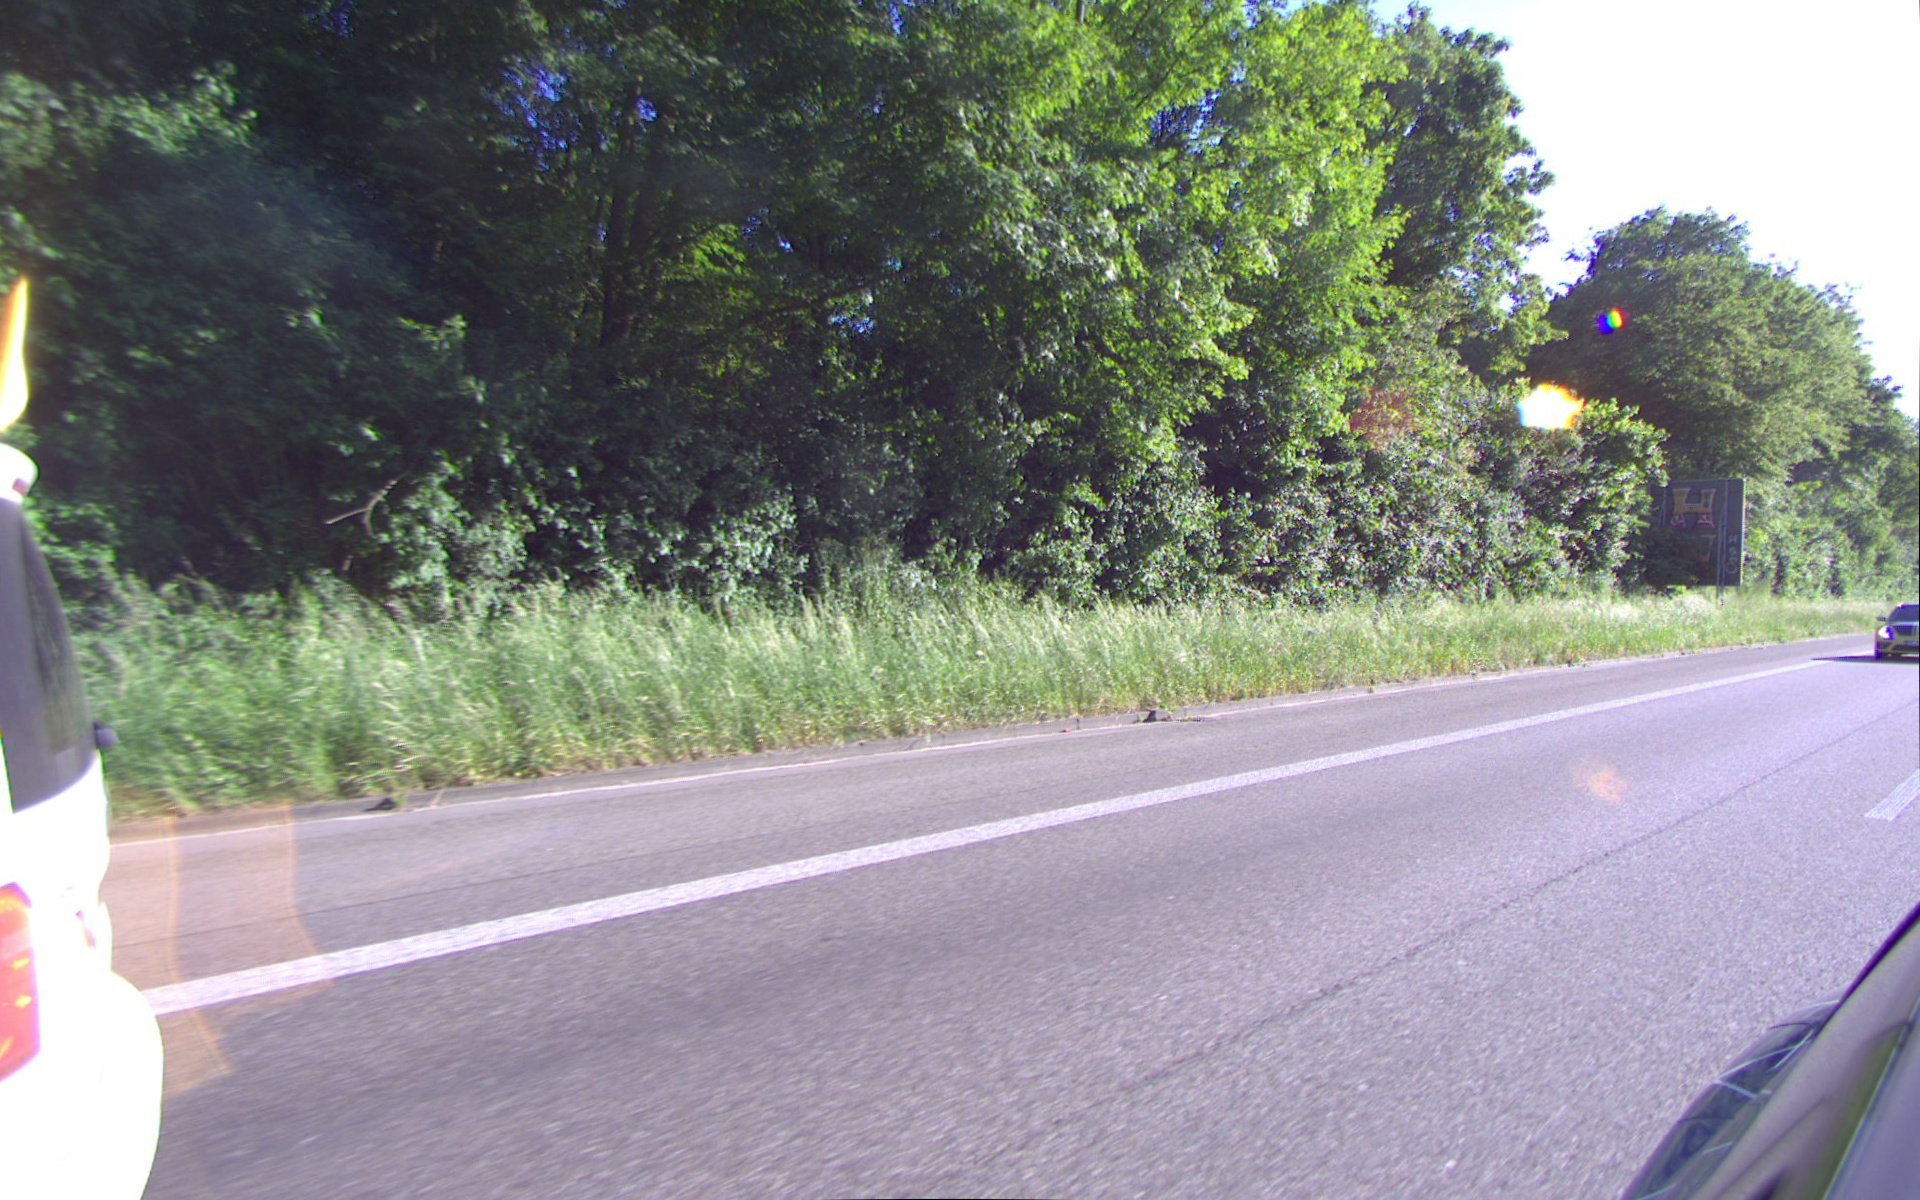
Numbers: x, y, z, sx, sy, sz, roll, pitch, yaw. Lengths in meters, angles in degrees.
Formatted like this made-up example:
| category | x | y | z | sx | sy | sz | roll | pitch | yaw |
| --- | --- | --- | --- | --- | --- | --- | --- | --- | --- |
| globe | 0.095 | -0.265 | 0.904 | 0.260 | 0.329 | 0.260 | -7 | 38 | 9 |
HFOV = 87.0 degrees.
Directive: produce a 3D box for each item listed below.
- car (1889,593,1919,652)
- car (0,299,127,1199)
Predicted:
| category | x | y | z | sx | sy | sz | roll | pitch | yaw |
| --- | --- | --- | --- | --- | --- | --- | --- | --- | --- |
| car | 25.175 | 0.553 | 25.829 | 3.811 | 1.467 | 1.793 | 0 | 0 | -42 |
| car | -3.556 | 0.501 | 0.751 | 4.508 | 1.836 | 1.802 | -1 | 0 | -41 |
